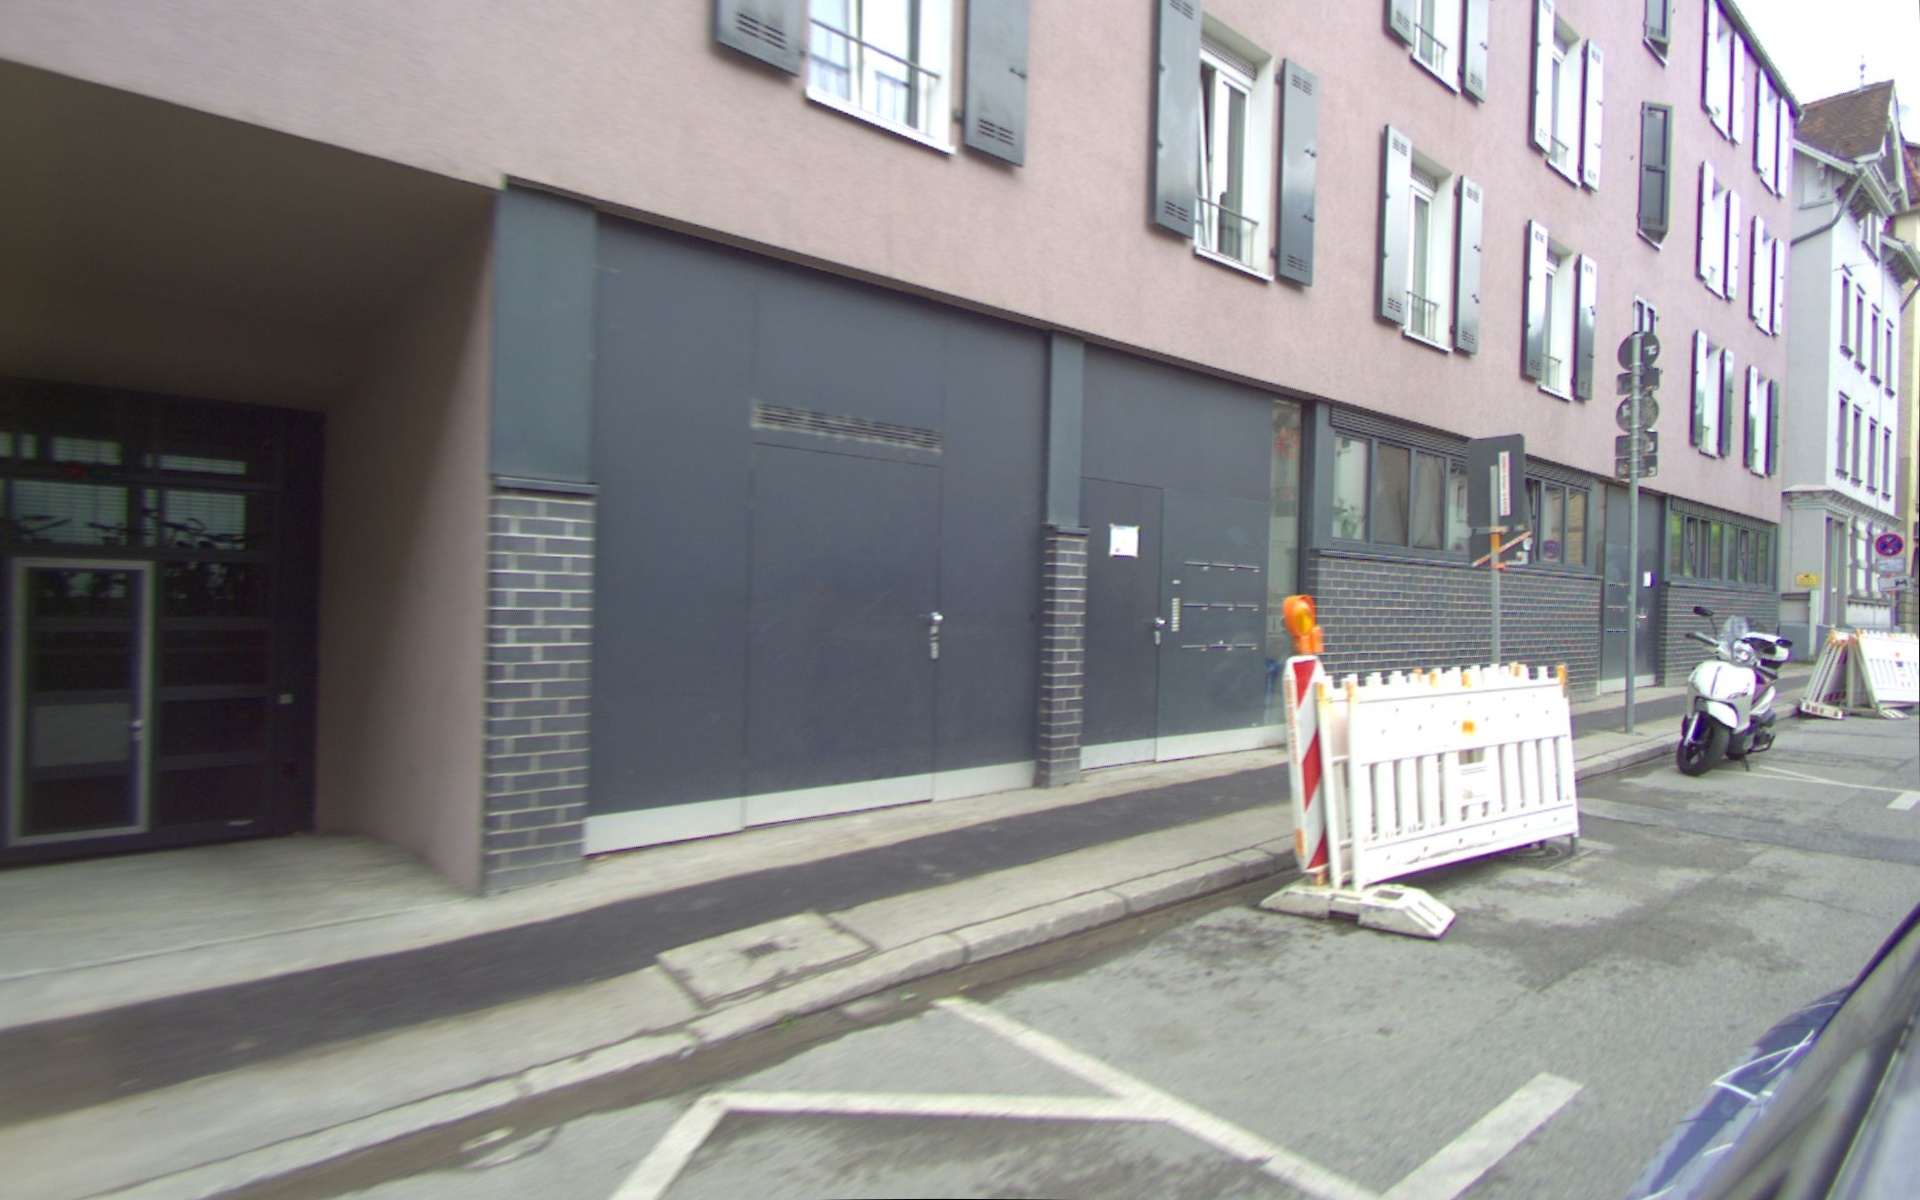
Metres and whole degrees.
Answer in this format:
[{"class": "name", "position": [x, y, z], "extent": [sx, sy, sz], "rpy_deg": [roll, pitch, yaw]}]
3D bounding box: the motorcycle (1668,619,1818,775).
[{"class": "motorcycle", "position": [7.313, 0.825, 9.401], "extent": [2.296, 1.242, 0.648], "rpy_deg": [0, 0, -40]}]
